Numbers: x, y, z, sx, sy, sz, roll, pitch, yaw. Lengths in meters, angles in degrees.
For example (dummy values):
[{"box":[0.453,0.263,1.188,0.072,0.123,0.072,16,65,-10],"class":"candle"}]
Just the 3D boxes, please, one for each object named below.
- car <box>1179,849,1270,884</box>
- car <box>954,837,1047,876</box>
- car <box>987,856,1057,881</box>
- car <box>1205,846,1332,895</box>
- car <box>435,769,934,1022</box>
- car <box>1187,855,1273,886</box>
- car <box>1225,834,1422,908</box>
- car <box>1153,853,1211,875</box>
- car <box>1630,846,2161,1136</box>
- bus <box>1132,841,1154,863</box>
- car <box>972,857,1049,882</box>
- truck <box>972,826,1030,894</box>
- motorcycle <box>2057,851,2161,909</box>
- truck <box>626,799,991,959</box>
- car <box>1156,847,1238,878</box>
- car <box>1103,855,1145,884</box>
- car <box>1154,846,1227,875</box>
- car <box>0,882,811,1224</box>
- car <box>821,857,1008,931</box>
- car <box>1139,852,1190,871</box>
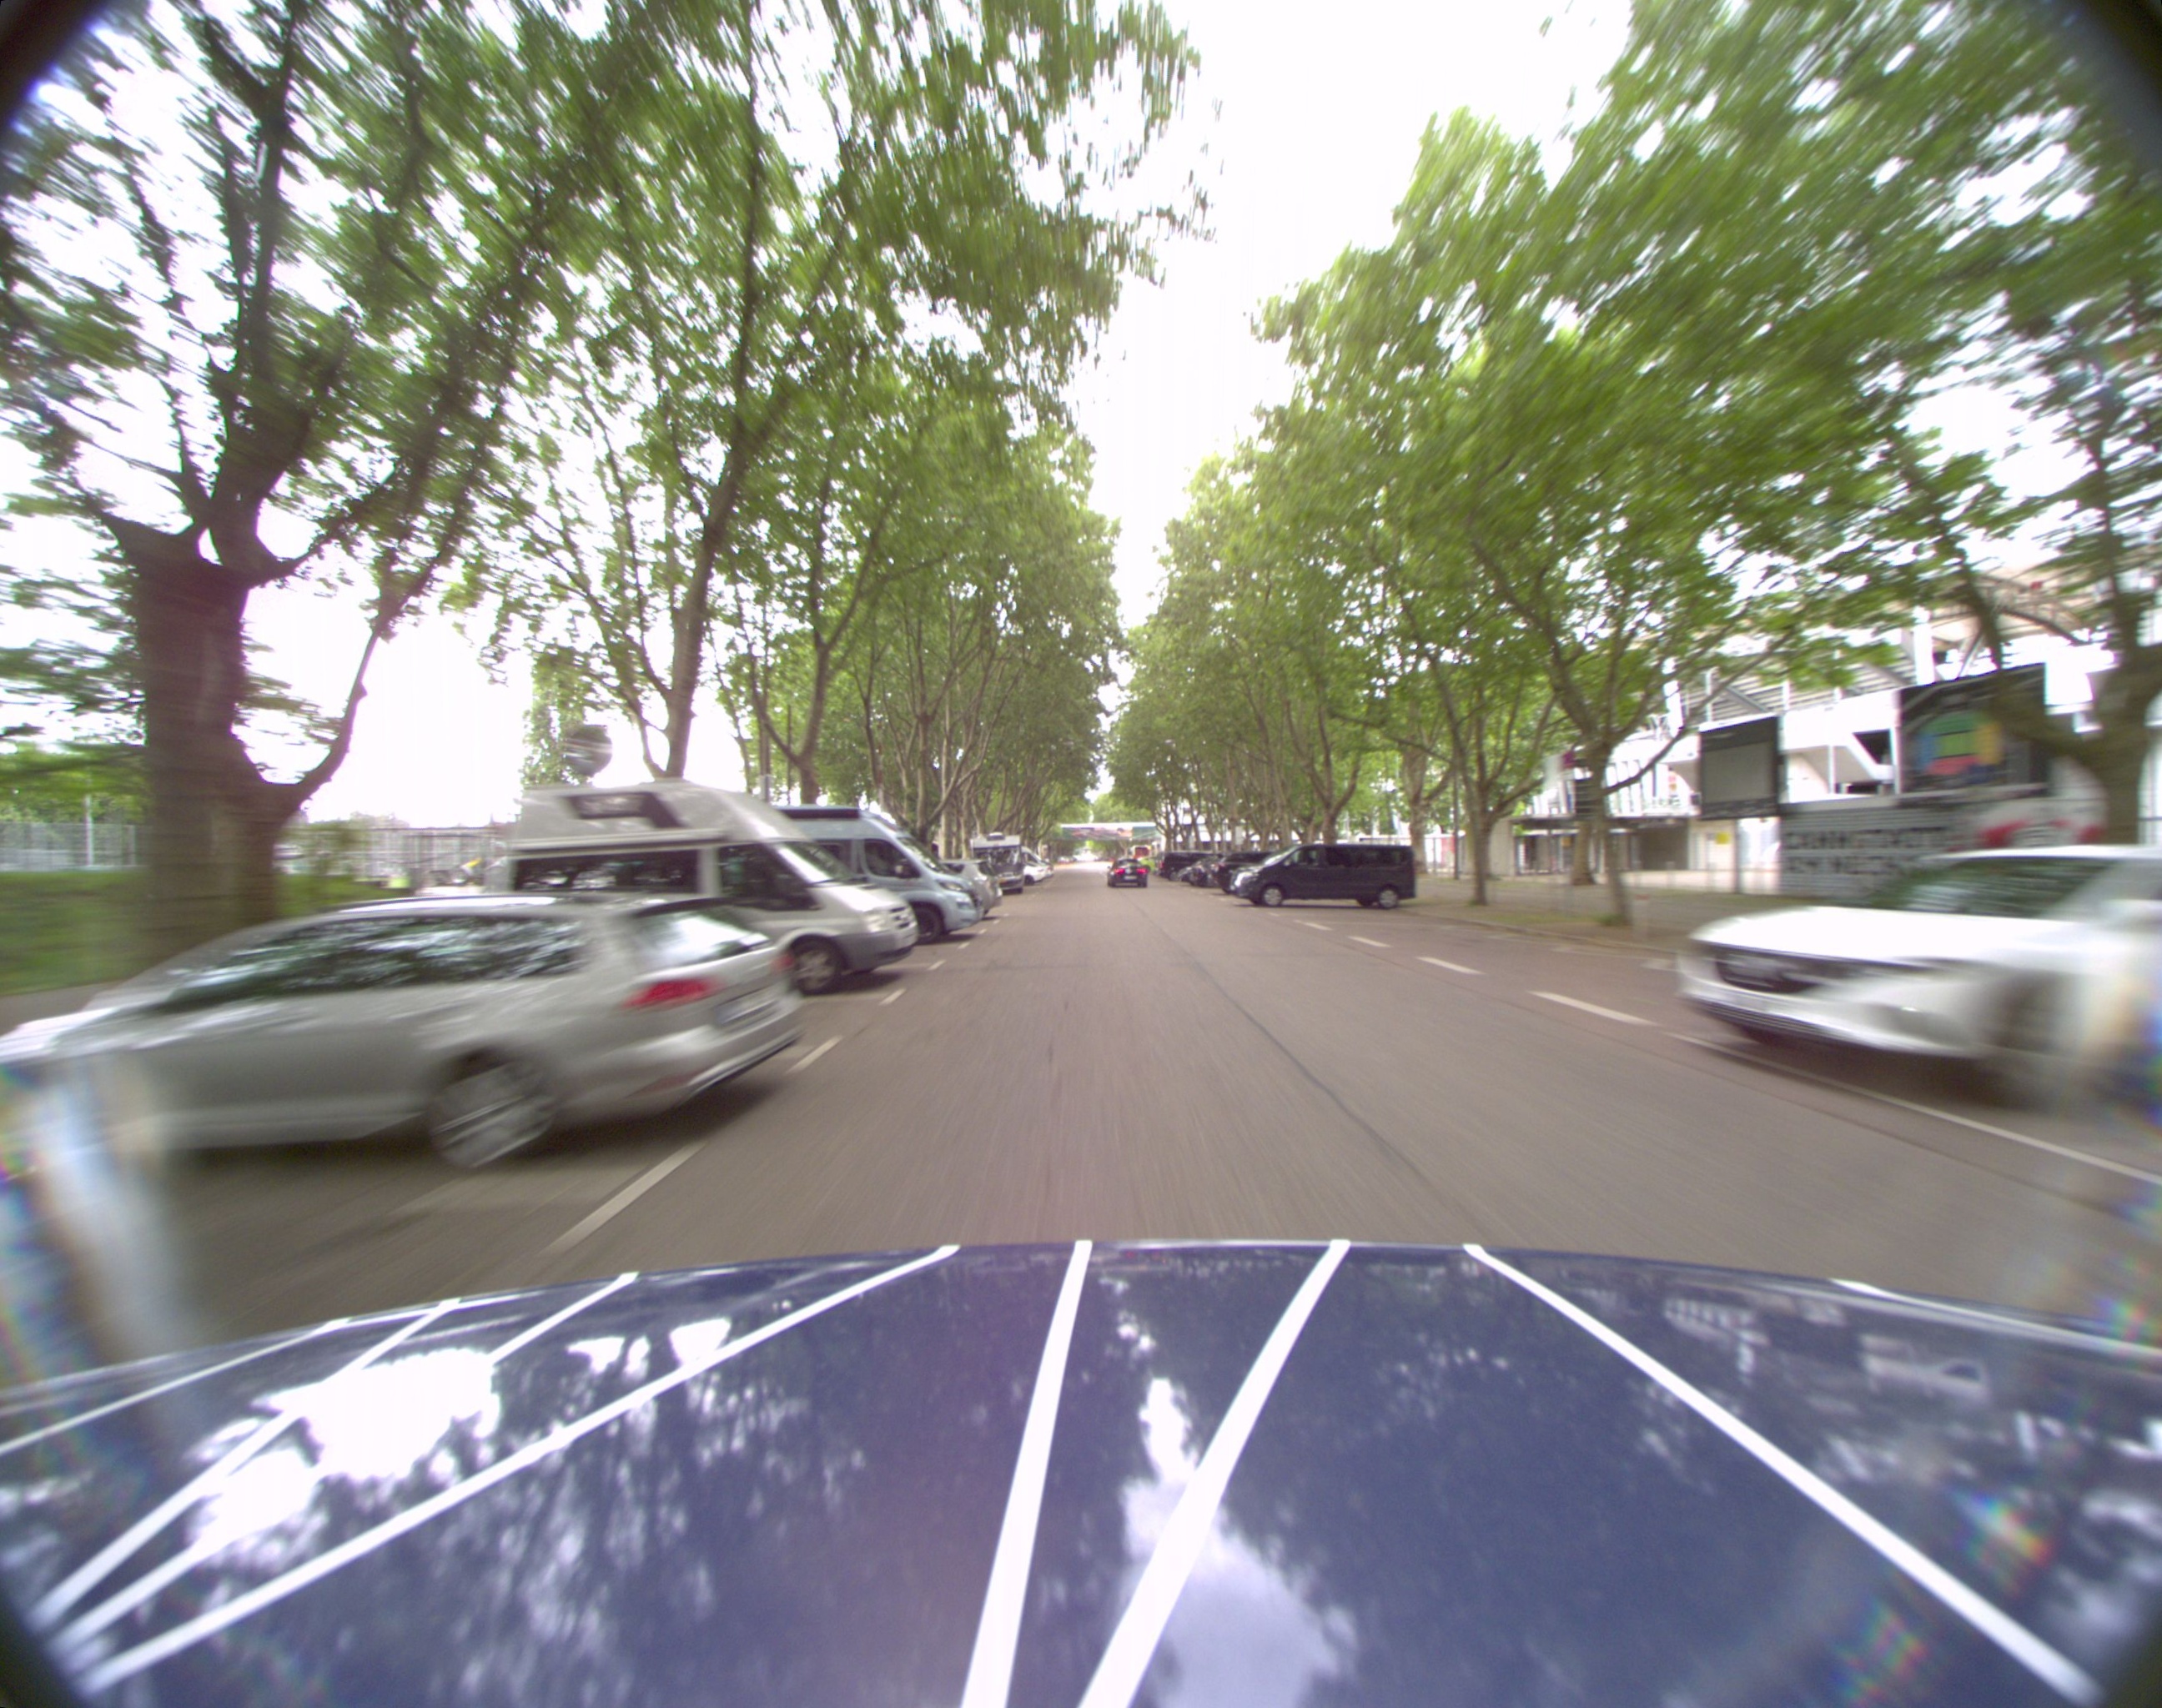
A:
[{"box":[7.666,0.688,40.838,4.590,1.771,1.798,1,-1,2],"class":"car"},{"box":[-6.149,0.158,58.134,6.902,2.679,2.126,-2,1,-7],"class":"car"},{"box":[-3.920,0.949,50.380,4.375,1.437,1.610,-2,0,-12],"class":"car"},{"box":[7.513,0.648,30.750,4.665,1.809,1.806,1,0,1],"class":"car"},{"box":[-4.763,0.481,9.728,5.241,2.674,1.957,-3,1,1],"class":"car"},{"box":[7.460,0.821,38.291,3.907,1.485,1.753,1,1,-2],"class":"car"},{"box":[7.368,0.513,23.454,5.450,2.115,1.940,1,0,-1],"class":"car"},{"box":[7.781,0.767,58.781,4.117,1.559,1.757,1,0,-4],"class":"car"},{"box":[6.683,0.771,5.214,4.391,1.587,2.000,1,0,-2],"class":"car"},{"box":[9.508,-0.263,117.189,2.658,3.136,12.369,2,0,2],"class":"bus"},{"box":[-4.132,0.917,44.947,4.330,1.294,1.700,-2,0,1],"class":"car"},{"box":[-4.075,0.251,37.496,2.466,2.920,7.532,-2,0,-8],"class":"truck"},{"box":[21.190,0.512,15.446,1.659,1.136,0.739,0,1,3],"class":"motorcycle"},{"box":[-5.122,0.467,14.934,6.309,2.699,2.098,-2,1,2],"class":"truck"},{"box":[7.375,0.551,48.731,4.917,1.913,2.208,0,0,1],"class":"car"},{"box":[2.158,0.780,39.234,1.659,1.356,4.110,1,0,-3],"class":"car"},{"box":[7.654,0.446,53.509,4.775,1.913,2.017,1,0,-2],"class":"car"},{"box":[-4.069,1.059,4.639,4.129,1.421,1.703,-4,1,2],"class":"car"},{"box":[-4.243,1.012,19.815,4.350,1.608,1.804,-3,0,3],"class":"car"},{"box":[7.481,0.647,68.363,4.527,1.608,1.758,-1,0,3],"class":"car"}]
